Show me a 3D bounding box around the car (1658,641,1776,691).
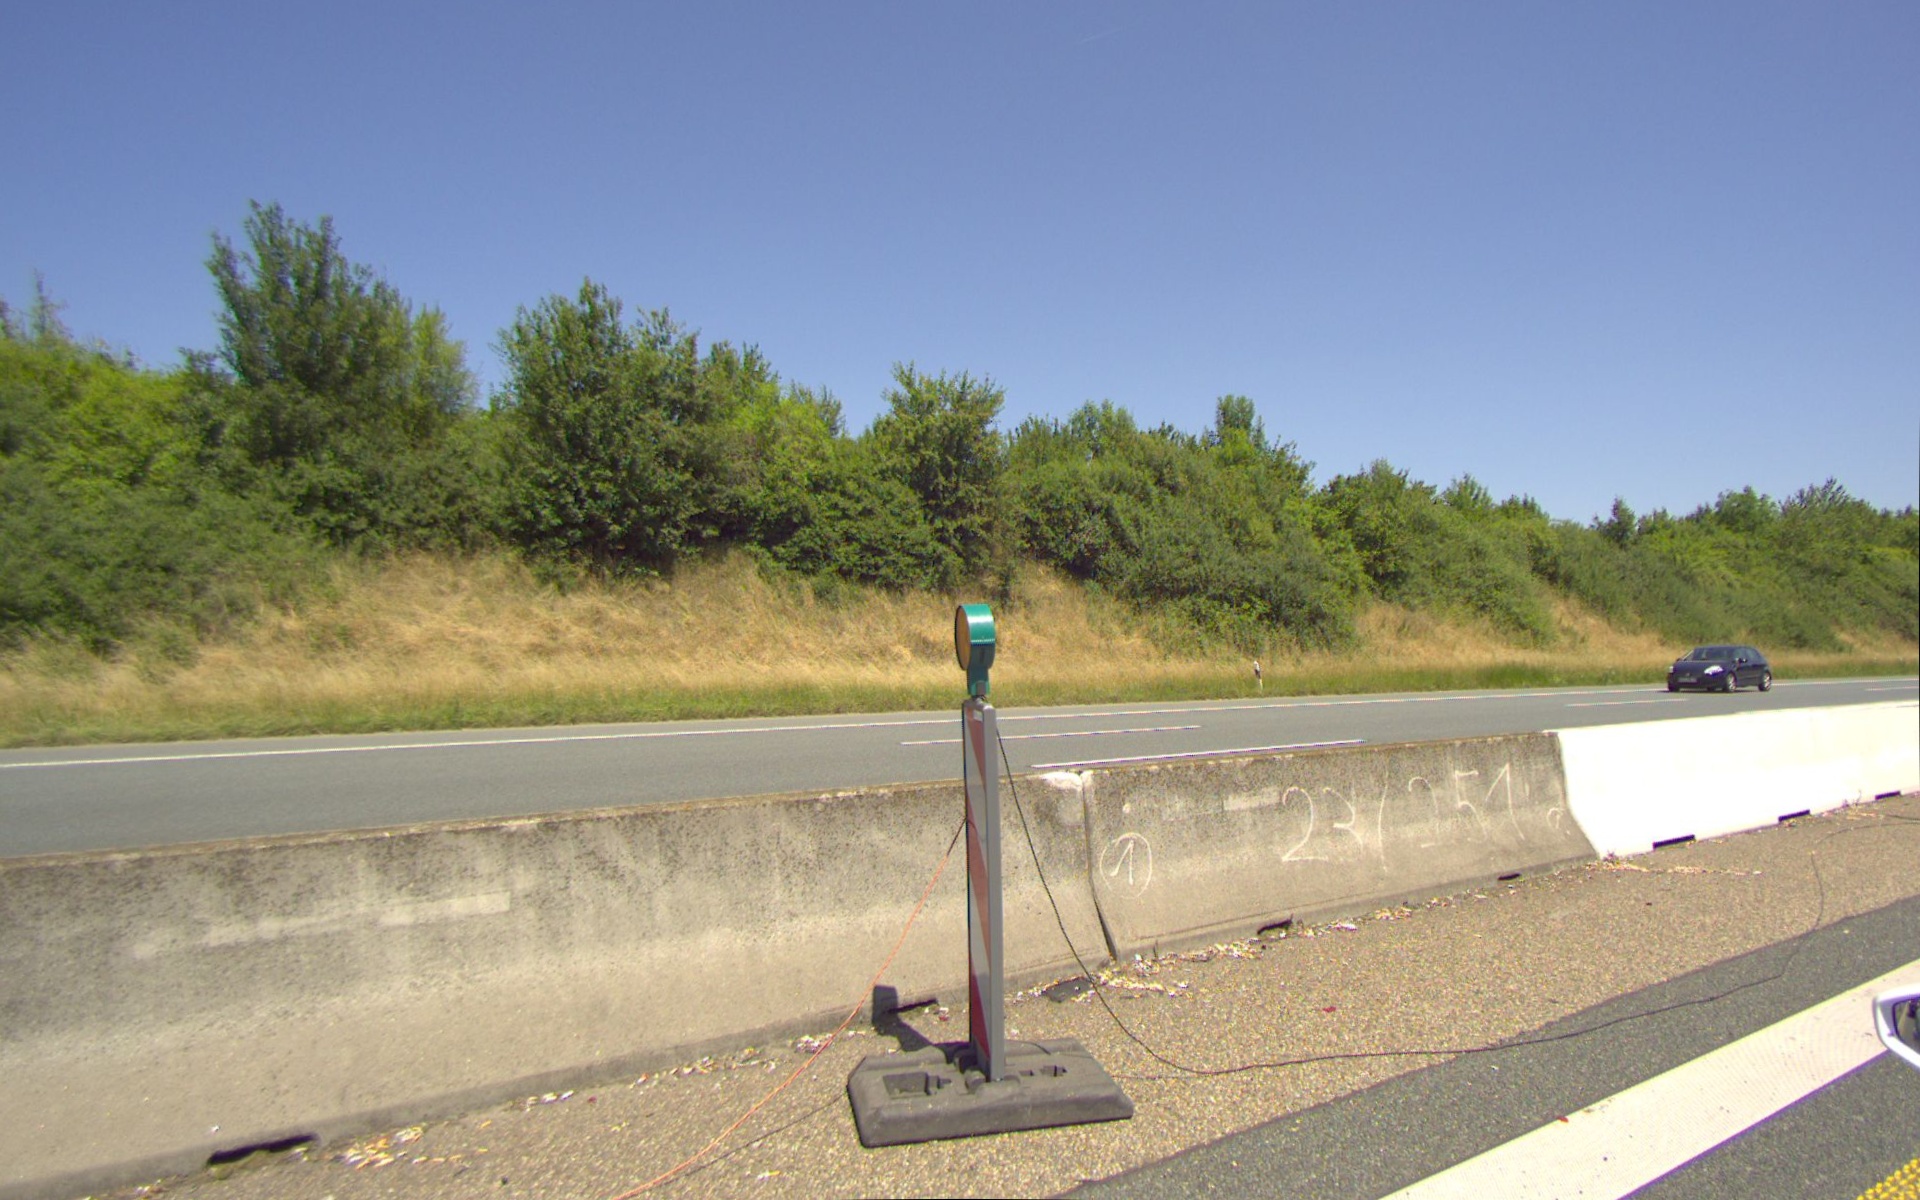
[{"bbox_3d":[23.796,2.049,31.561,3.806,1.483,1.700,2,-3,-32],"label":"car"}]
